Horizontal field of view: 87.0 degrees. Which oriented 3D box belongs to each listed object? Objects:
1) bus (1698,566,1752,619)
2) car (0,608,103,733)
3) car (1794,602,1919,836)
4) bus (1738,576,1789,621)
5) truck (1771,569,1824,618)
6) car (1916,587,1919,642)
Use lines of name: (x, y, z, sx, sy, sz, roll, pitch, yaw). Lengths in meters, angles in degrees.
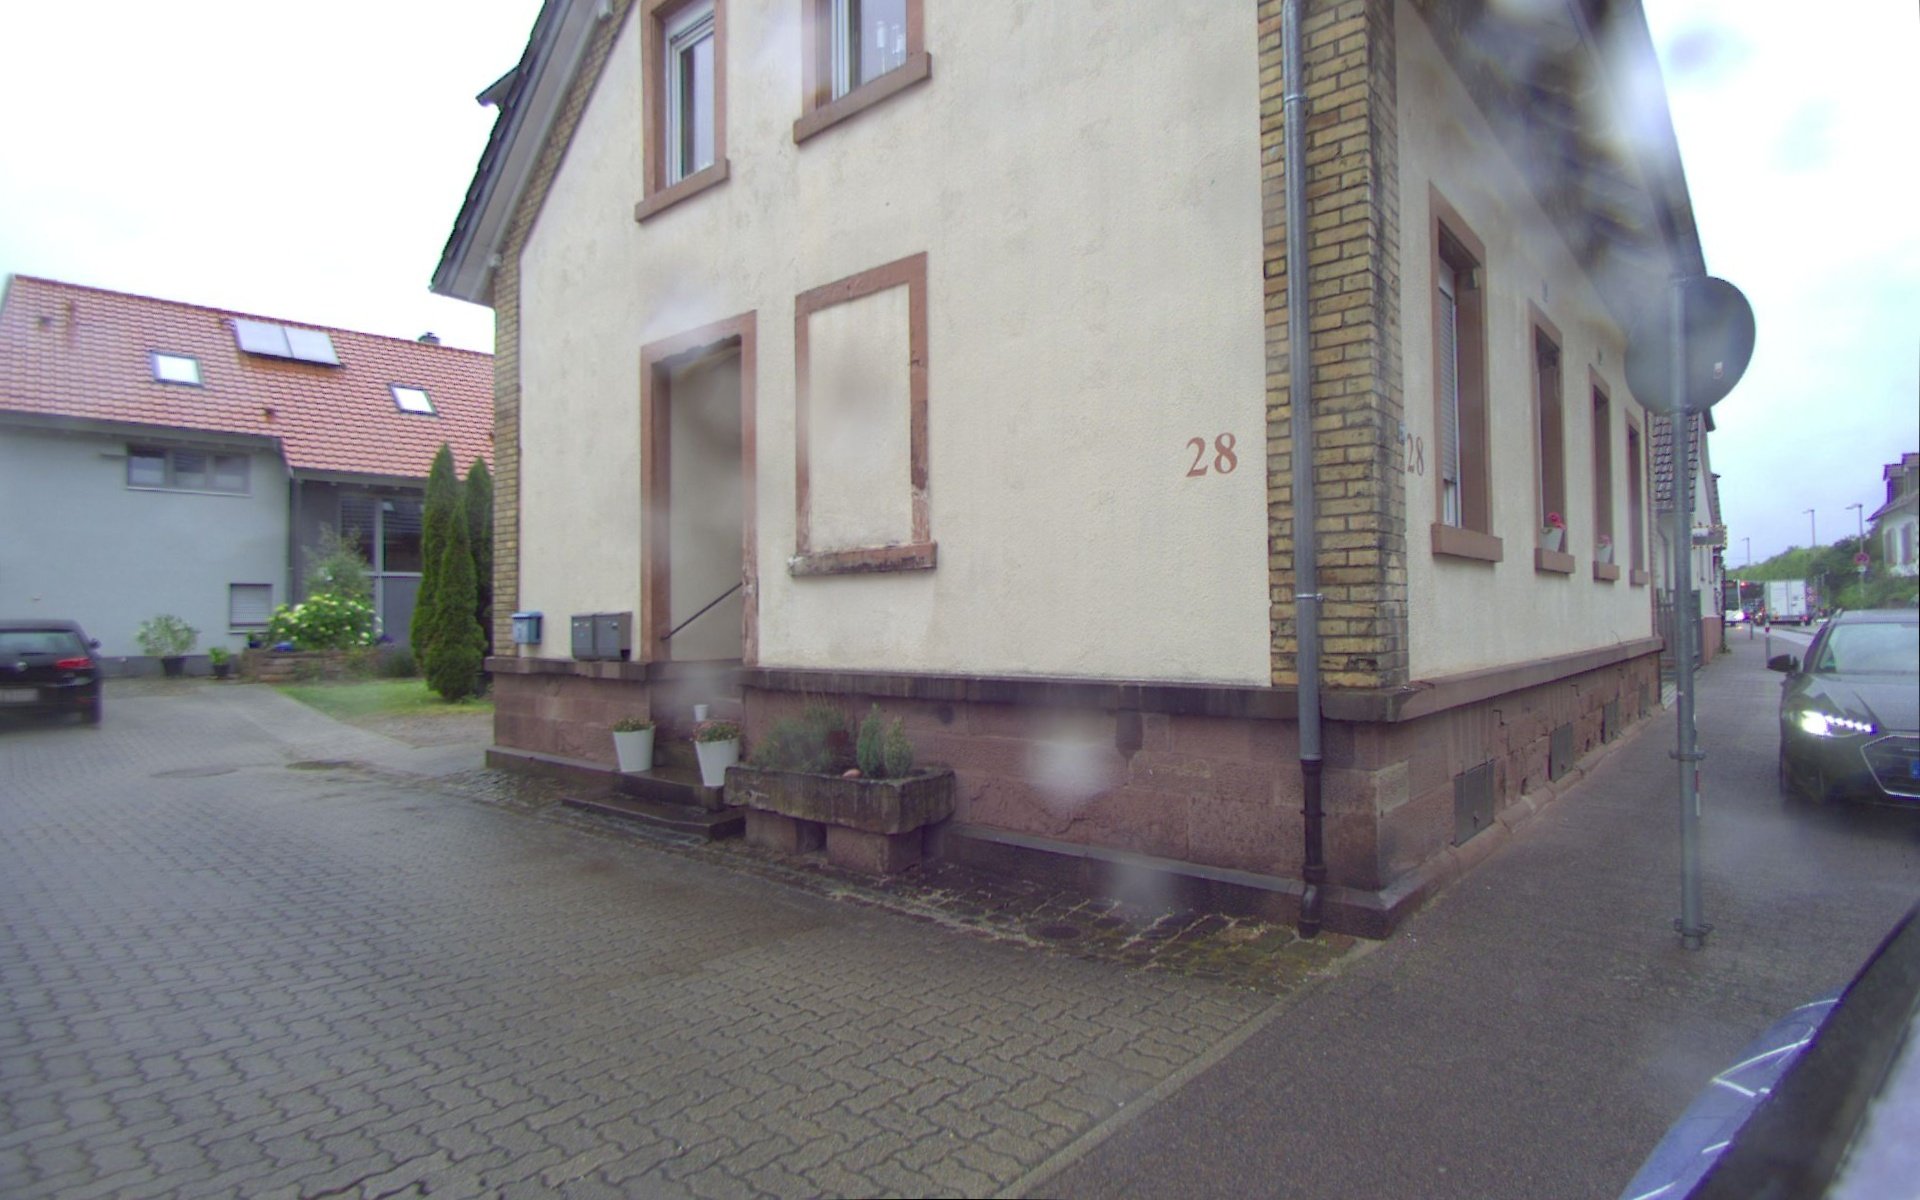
bus: (51.203, -0.546, 67.950, 2.654, 3.273, 12.032, 0, 0, 36)
car: (-13.952, 0.951, 15.112, 1.656, 1.491, 3.993, 0, 2, -42)
car: (7.363, 0.731, 7.544, 1.732, 1.388, 4.044, 0, 0, 39)
bus: (62.869, -0.159, 79.394, 2.654, 3.273, 12.032, 0, 0, 36)
truck: (46.049, -0.384, 55.743, 1.989, 2.536, 5.574, 0, 0, 37)
car: (28.916, 0.457, 29.060, 1.777, 1.686, 4.363, -3, -1, 40)
